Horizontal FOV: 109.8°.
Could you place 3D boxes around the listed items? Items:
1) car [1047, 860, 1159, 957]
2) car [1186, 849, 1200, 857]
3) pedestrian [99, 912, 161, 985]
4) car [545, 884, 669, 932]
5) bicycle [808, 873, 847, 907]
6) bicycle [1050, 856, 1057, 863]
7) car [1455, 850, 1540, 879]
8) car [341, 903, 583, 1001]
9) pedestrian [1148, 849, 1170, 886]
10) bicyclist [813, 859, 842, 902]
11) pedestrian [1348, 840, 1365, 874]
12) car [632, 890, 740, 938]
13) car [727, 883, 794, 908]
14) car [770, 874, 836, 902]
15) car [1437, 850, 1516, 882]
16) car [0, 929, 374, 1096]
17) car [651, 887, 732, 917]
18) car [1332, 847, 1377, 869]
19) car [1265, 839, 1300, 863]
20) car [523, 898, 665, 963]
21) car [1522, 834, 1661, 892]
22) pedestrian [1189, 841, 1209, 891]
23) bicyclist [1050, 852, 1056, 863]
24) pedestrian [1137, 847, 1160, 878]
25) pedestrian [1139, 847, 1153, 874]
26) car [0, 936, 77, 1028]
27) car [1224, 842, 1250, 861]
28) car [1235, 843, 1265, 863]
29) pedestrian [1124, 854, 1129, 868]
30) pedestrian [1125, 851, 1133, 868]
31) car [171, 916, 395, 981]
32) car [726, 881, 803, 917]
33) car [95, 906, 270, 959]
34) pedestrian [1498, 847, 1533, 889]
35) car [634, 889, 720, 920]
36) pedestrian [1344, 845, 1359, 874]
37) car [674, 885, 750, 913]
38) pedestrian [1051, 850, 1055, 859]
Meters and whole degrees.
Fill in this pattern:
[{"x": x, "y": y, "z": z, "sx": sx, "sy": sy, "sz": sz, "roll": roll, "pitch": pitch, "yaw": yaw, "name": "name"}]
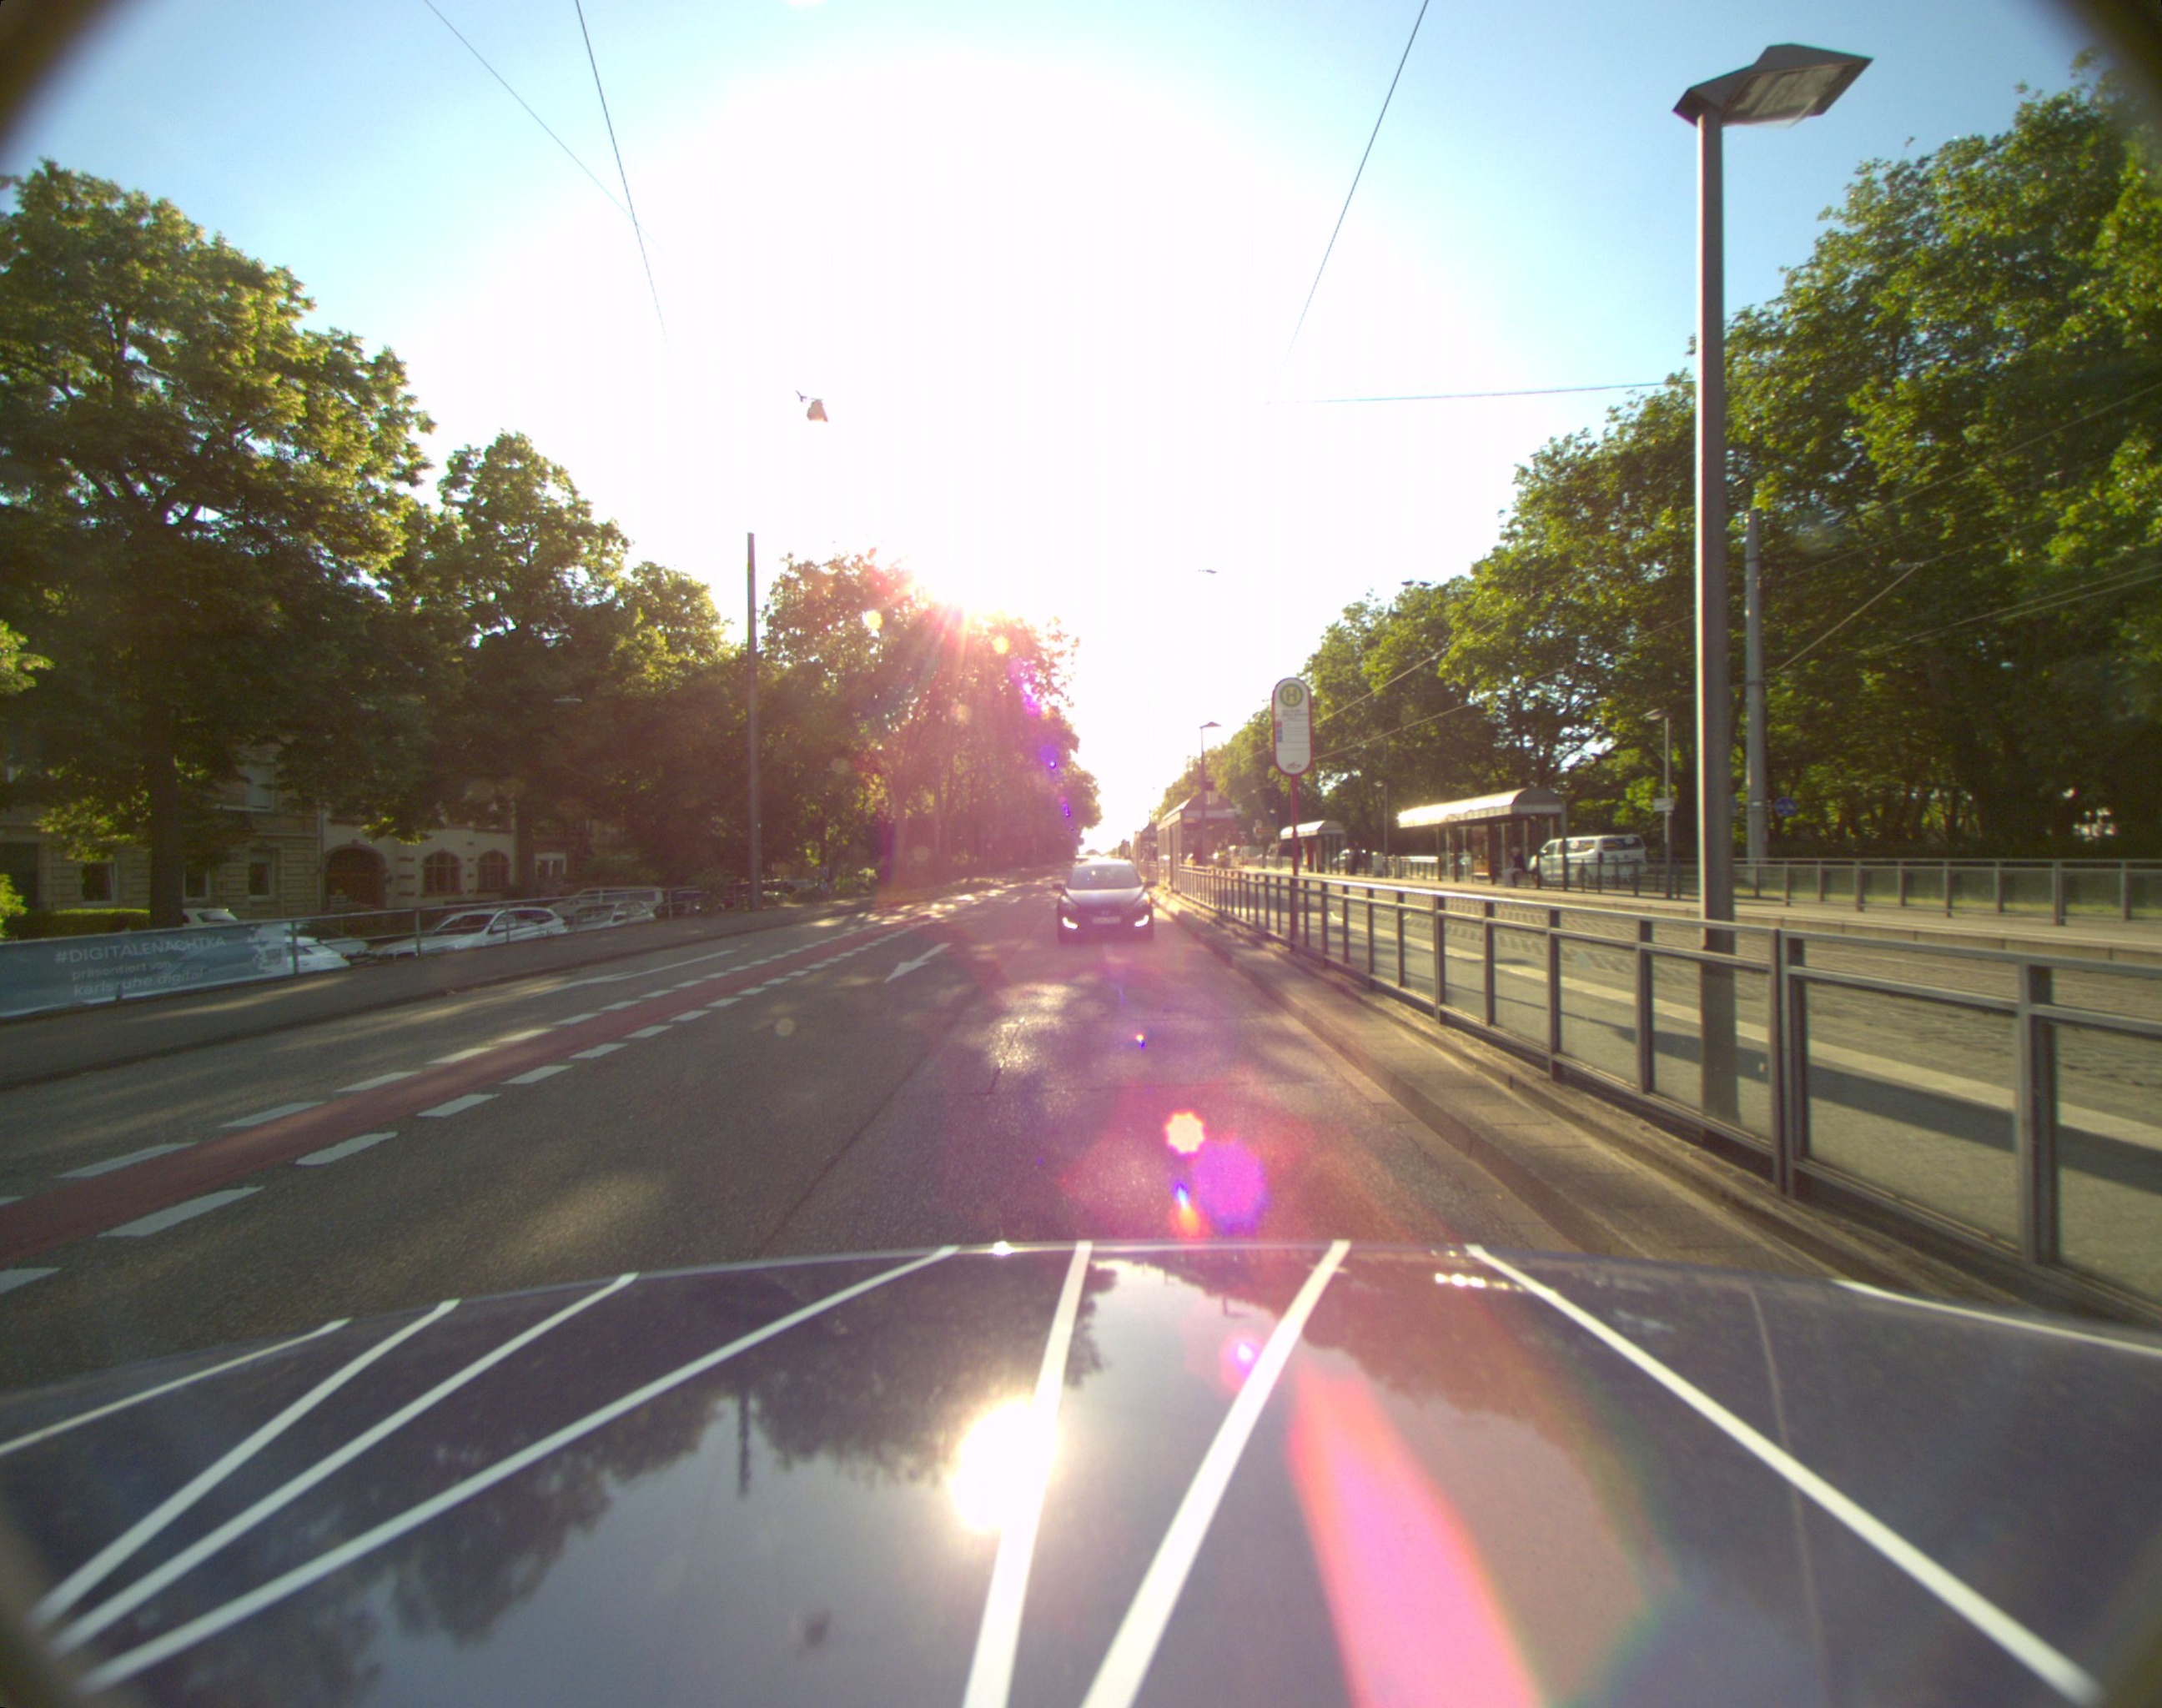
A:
[{"x": 0.401, "y": 0.923, "z": 14.676, "sx": 1.798, "sy": 1.501, "sz": 4.000, "roll": -2, "pitch": 0, "yaw": 1, "name": "car"}, {"x": 20.888, "y": -0.119, "z": 141.808, "sx": 1.832, "sy": 1.428, "sz": 4.323, "roll": 1, "pitch": 1, "yaw": -1, "name": "car"}, {"x": -23.619, "y": 2.336, "z": 18.882, "sx": 0.650, "sy": 1.736, "sz": 0.631, "roll": -1, "pitch": 1, "yaw": -4, "name": "pedestrian"}, {"x": -21.487, "y": 2.403, "z": 34.622, "sx": 4.690, "sy": 1.954, "sz": 1.868, "roll": 0, "pitch": 0, "yaw": -31, "name": "car"}, {"x": -9.094, "y": 1.280, "z": 27.305, "sx": 0.768, "sy": 1.101, "sz": 1.800, "roll": -1, "pitch": 0, "yaw": 1, "name": "bicycle"}, {"x": -4.283, "y": 0.898, "z": 117.267, "sx": 0.700, "sy": 1.101, "sz": 1.931, "roll": -1, "pitch": 0, "yaw": 9, "name": "bicycle"}, {"x": 20.343, "y": 0.480, "z": 37.332, "sx": 1.774, "sy": 1.284, "sz": 4.314, "roll": 1, "pitch": 1, "yaw": -1, "name": "car"}, {"x": -14.116, "y": 2.145, "z": 17.767, "sx": 1.799, "sy": 1.570, "sz": 4.552, "roll": -2, "pitch": 1, "yaw": 1, "name": "car"}, {"x": 3.698, "y": 0.625, "z": 35.810, "sx": 0.654, "sy": 1.712, "sz": 0.708, "roll": -3, "pitch": 1, "yaw": -34, "name": "pedestrian"}, {"x": -9.093, "y": 0.957, "z": 27.248, "sx": 0.768, "sy": 1.504, "sz": 0.650, "roll": -1, "pitch": 1, "yaw": 1, "name": "bicyclist"}, {"x": 14.622, "y": 0.175, "z": 40.297, "sx": 0.649, "sy": 1.762, "sz": 0.650, "roll": -2, "pitch": 1, "yaw": 4, "name": "pedestrian"}, {"x": -14.214, "y": 2.115, "z": 27.594, "sx": 1.799, "sy": 1.301, "sz": 3.999, "roll": -2, "pitch": 1, "yaw": -1, "name": "car"}, {"x": -21.987, "y": 2.815, "z": 52.200, "sx": 4.007, "sy": 1.501, "sz": 1.796, "roll": 0, "pitch": -1, "yaw": -31, "name": "car"}, {"x": -21.372, "y": 2.600, "z": 58.471, "sx": 4.470, "sy": 2.002, "sz": 1.992, "roll": 0, "pitch": 0, "yaw": -29, "name": "car"}, {"x": 20.433, "y": 0.563, "z": 39.464, "sx": 1.799, "sy": 1.501, "sz": 4.340, "roll": 1, "pitch": 1, "yaw": -1, "name": "car"}, {"x": -13.984, "y": 2.239, "z": 11.756, "sx": 1.799, "sy": 1.570, "sz": 4.442, "roll": -2, "pitch": 1, "yaw": 1, "name": "car"}, {"x": -22.261, "y": 2.709, "z": 43.440, "sx": 4.007, "sy": 1.501, "sz": 1.796, "roll": 0, "pitch": -1, "yaw": -31, "name": "car"}, {"x": 20.960, "y": 0.269, "z": 58.436, "sx": 1.908, "sy": 1.642, "sz": 3.971, "roll": 0, "pitch": 1, "yaw": -2, "name": "car"}, {"x": 21.929, "y": -0.347, "z": 82.910, "sx": 2.189, "sy": 2.506, "sz": 6.031, "roll": 1, "pitch": 1, "yaw": -1, "name": "car"}, {"x": -14.065, "y": 2.162, "z": 22.225, "sx": 1.799, "sy": 1.433, "sz": 3.576, "roll": -2, "pitch": 1, "yaw": -1, "name": "car"}, {"x": 20.209, "y": 0.307, "z": 30.428, "sx": 2.072, "sy": 2.112, "sz": 5.089, "roll": 1, "pitch": 1, "yaw": -1, "name": "car"}, {"x": 4.037, "y": 0.394, "z": 25.941, "sx": 0.596, "sy": 1.668, "sz": 0.589, "roll": -2, "pitch": 1, "yaw": 6, "name": "pedestrian"}, {"x": -4.293, "y": 0.504, "z": 117.263, "sx": 0.700, "sy": 1.718, "sz": 1.081, "roll": -1, "pitch": 0, "yaw": 9, "name": "bicyclist"}, {"x": 3.635, "y": 0.465, "z": 40.967, "sx": 0.800, "sy": 1.624, "sz": 0.868, "roll": -3, "pitch": 0, "yaw": 39, "name": "pedestrian"}, {"x": 4.056, "y": 0.410, "z": 47.680, "sx": 0.744, "sy": 1.685, "sz": 0.791, "roll": -3, "pitch": 1, "yaw": 2, "name": "pedestrian"}, {"x": -21.568, "y": 2.396, "z": 13.559, "sx": 4.006, "sy": 1.505, "sz": 1.796, "roll": 0, "pitch": -1, "yaw": -29, "name": "car"}, {"x": 21.704, "y": -0.368, "z": 105.925, "sx": 2.189, "sy": 2.506, "sz": 6.048, "roll": 1, "pitch": 1, "yaw": -1, "name": "car"}, {"x": 21.802, "y": -0.140, "z": 98.095, "sx": 2.189, "sy": 2.506, "sz": 6.269, "roll": 0, "pitch": 1, "yaw": -2, "name": "car"}, {"x": 4.196, "y": 0.657, "z": 70.240, "sx": 0.417, "sy": 1.313, "sz": 0.359, "roll": 1, "pitch": 1, "yaw": 1, "name": "pedestrian"}, {"x": 4.519, "y": 0.489, "z": 71.376, "sx": 0.520, "sy": 1.559, "sz": 0.509, "roll": 2, "pitch": 1, "yaw": 31, "name": "pedestrian"}, {"x": -21.005, "y": 2.462, "z": 20.138, "sx": 3.997, "sy": 1.505, "sz": 1.800, "roll": 0, "pitch": 0, "yaw": -1, "name": "car"}, {"x": -14.397, "y": 2.005, "z": 34.807, "sx": 1.799, "sy": 1.301, "sz": 3.999, "roll": -2, "pitch": 1, "yaw": -1, "name": "car"}, {"x": -29.785, "y": 2.580, "z": 25.273, "sx": 3.575, "sy": 1.513, "sz": 1.800, "roll": 0, "pitch": 0, "yaw": -2, "name": "car"}, {"x": 13.964, "y": 0.442, "z": 24.429, "sx": 0.671, "sy": 1.317, "sz": 0.757, "roll": 1, "pitch": 1, "yaw": -1, "name": "pedestrian"}, {"x": -21.541, "y": 2.653, "z": 40.592, "sx": 3.932, "sy": 1.443, "sz": 1.685, "roll": 0, "pitch": -1, "yaw": -33, "name": "car"}, {"x": 14.624, "y": 0.276, "z": 41.098, "sx": 0.594, "sy": 1.535, "sz": 0.626, "roll": -2, "pitch": 1, "yaw": 2, "name": "pedestrian"}, {"x": -22.543, "y": 2.732, "z": 46.470, "sx": 4.007, "sy": 1.501, "sz": 1.796, "roll": 0, "pitch": -1, "yaw": -31, "name": "car"}, {"x": -4.740, "y": 0.062, "z": 128.999, "sx": 0.649, "sy": 1.626, "sz": 0.928, "roll": 1, "pitch": 1, "yaw": 2, "name": "pedestrian"}]
